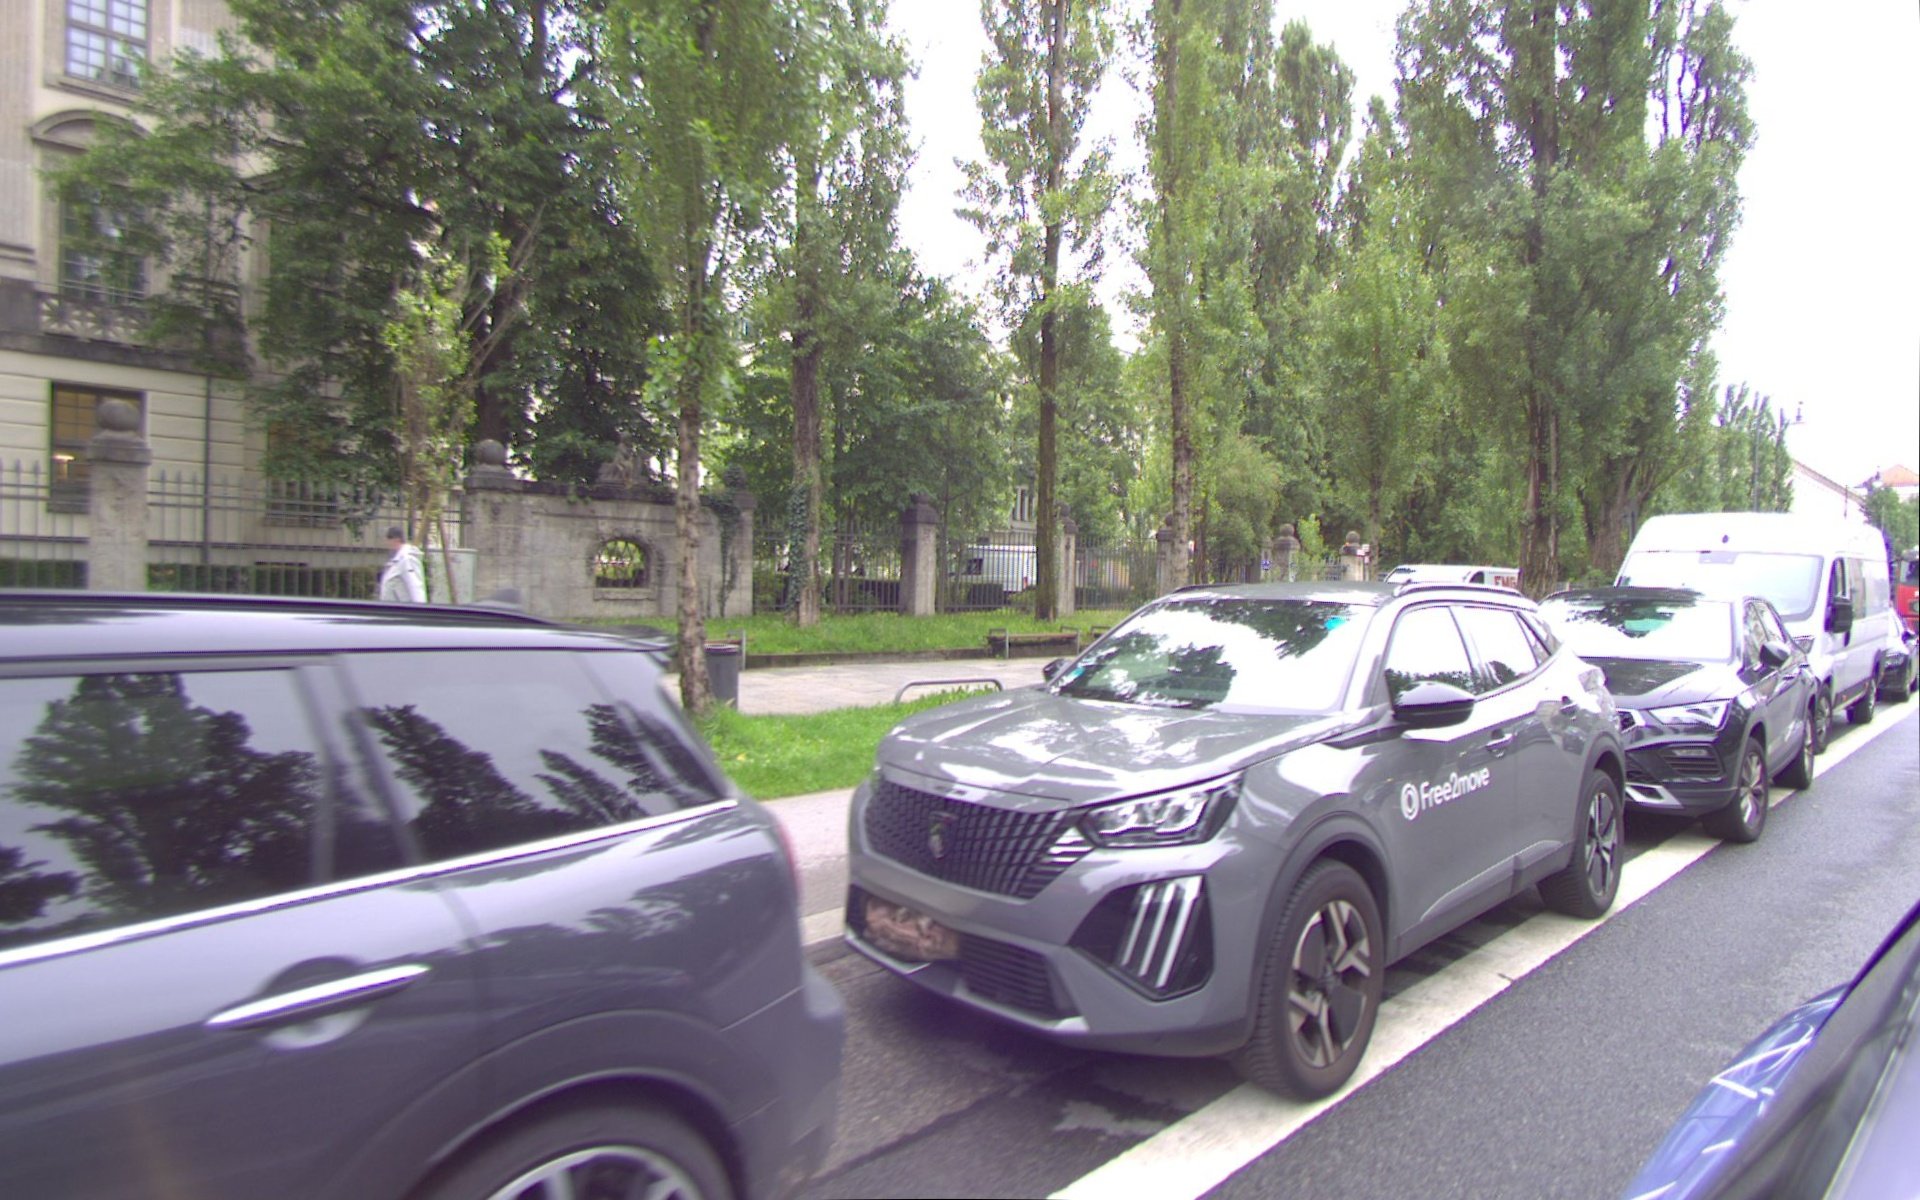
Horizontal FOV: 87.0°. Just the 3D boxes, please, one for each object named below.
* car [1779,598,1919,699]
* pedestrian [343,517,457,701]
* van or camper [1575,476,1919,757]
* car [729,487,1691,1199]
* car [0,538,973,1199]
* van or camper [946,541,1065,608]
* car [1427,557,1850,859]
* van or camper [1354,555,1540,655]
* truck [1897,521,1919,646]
[{"bbox_3d":[14.965,0.712,16.728,3.933,1.438,1.678,0,2,-43],"label":"car"},{"bbox_3d":[-5.782,0.073,10.445,0.879,1.790,0.796,1,1,-40],"label":"pedestrian"},{"bbox_3d":[9.703,0.120,12.181,6.306,2.572,2.142,0,1,-42],"label":"van or camper"},{"bbox_3d":[1.487,0.558,4.404,4.557,1.638,1.787,1,1,-42],"label":"car"},{"bbox_3d":[-2.122,0.671,1.219,4.220,1.539,1.705,1,1,-42],"label":"car"},{"bbox_3d":[1.923,-1.130,44.388,2.210,2.740,5.219,1,2,-41],"label":"van or camper"},{"bbox_3d":[5.387,0.583,7.770,4.344,1.669,1.786,0,1,-44],"label":"car"},{"bbox_3d":[10.782,0.092,22.231,4.951,1.958,1.978,0,0,-42],"label":"van or camper"},{"bbox_3d":[32.031,-0.431,31.903,10.104,3.609,2.849,0,1,-43],"label":"truck"}]
